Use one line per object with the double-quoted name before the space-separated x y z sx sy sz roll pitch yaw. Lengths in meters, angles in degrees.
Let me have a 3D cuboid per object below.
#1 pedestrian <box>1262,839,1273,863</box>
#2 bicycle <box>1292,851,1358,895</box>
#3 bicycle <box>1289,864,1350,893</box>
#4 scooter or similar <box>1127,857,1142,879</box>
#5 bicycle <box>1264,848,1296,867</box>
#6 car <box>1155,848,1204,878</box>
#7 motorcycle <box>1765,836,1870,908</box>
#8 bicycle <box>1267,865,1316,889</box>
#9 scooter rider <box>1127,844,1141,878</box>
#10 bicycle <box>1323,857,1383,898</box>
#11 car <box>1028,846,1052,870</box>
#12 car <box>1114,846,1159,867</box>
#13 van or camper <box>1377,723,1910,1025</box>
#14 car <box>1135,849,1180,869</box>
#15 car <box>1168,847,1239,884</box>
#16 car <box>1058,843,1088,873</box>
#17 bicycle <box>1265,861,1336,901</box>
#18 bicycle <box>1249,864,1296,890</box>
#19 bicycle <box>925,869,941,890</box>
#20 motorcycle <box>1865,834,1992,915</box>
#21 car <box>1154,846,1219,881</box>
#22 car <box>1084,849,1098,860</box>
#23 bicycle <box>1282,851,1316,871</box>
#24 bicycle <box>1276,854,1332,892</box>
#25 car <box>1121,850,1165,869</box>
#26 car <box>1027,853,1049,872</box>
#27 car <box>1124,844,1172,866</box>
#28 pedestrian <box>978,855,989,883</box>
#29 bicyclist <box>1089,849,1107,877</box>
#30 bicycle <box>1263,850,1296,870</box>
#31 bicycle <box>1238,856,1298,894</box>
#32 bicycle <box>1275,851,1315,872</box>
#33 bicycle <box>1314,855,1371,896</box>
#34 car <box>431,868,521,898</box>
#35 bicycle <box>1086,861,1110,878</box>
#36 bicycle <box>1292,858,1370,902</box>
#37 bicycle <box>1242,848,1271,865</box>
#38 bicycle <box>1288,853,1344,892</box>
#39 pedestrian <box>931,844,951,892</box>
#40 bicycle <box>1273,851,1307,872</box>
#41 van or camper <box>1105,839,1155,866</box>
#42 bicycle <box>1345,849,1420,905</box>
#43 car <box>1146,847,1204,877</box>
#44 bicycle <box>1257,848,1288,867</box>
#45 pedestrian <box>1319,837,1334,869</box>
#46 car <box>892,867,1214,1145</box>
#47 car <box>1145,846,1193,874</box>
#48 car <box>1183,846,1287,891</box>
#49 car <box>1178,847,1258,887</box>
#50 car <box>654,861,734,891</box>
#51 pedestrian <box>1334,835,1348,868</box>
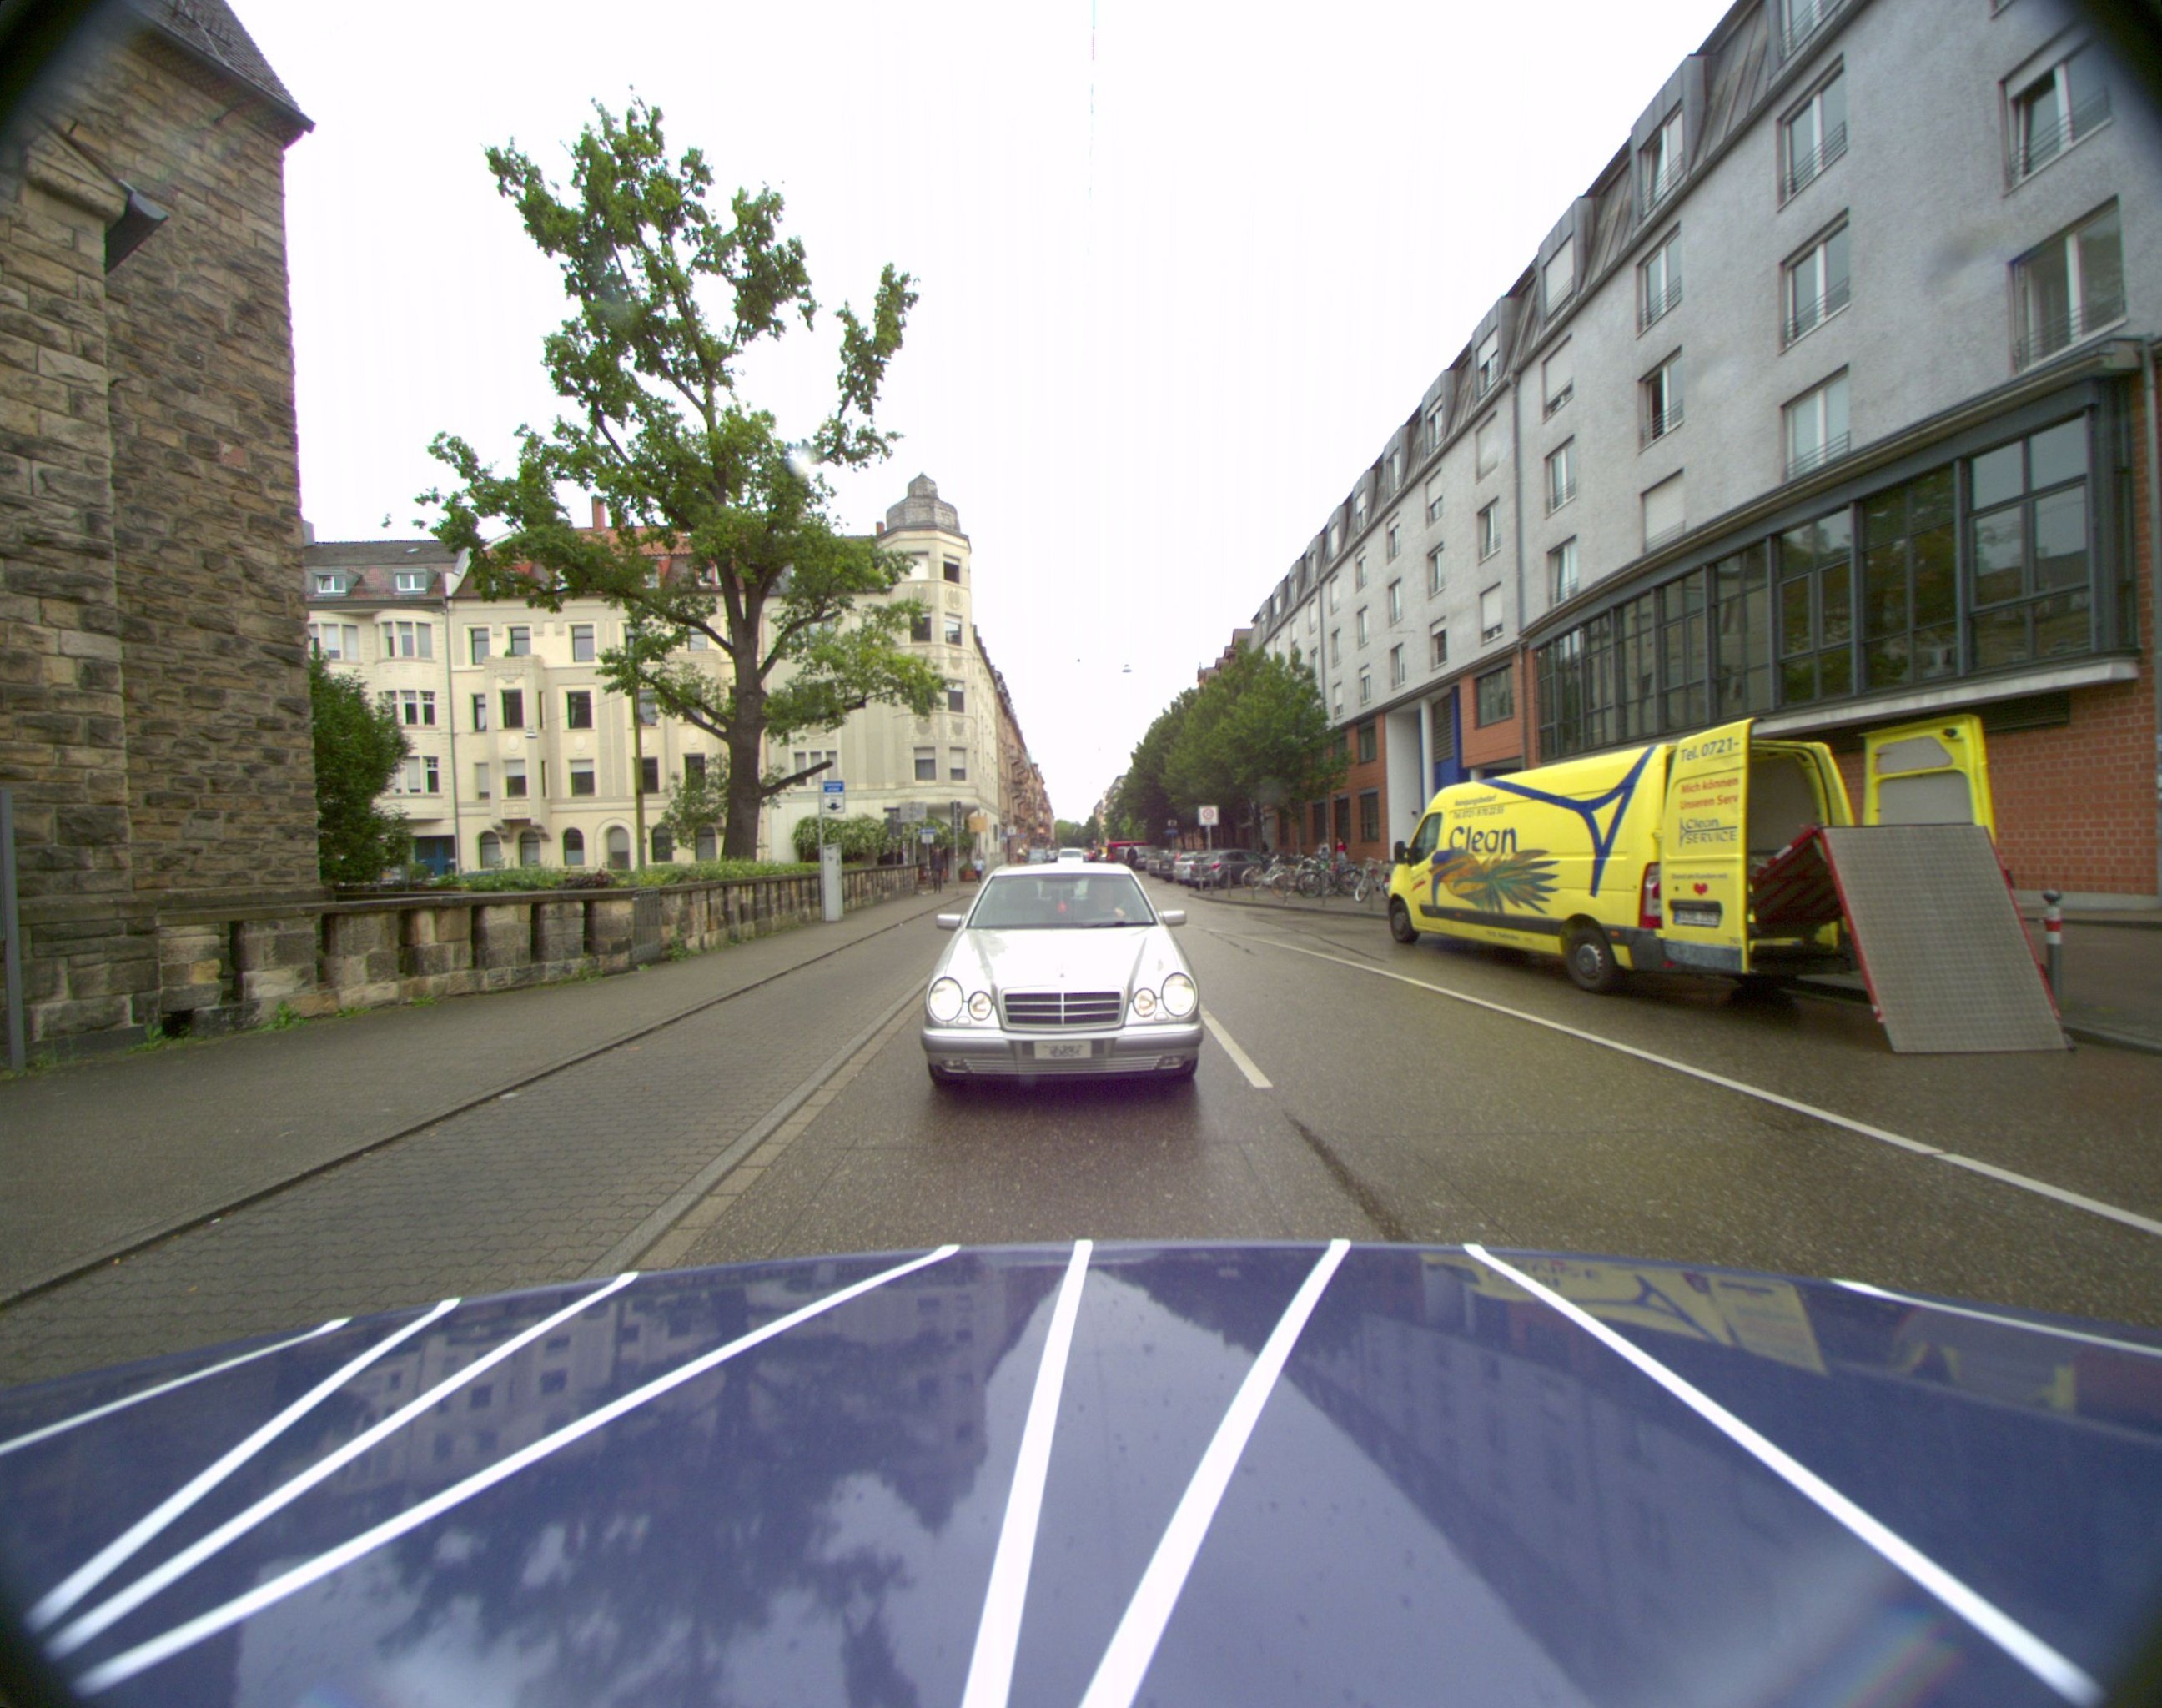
"pedestrian" 12.344 -0.216 50.231 0.571 1.588 0.533 -2 1 1
"bicycle" 7.251 0.554 22.582 1.815 1.187 0.519 -3 1 -13
"bicycle" 7.266 0.745 23.173 1.773 0.757 0.456 -3 1 -13
"scooter or similar" 3.020 0.784 42.986 0.702 1.158 1.385 -1 1 -2
"bicycle" 10.672 0.198 40.676 1.590 0.979 0.445 -2 1 -8
"car" 5.306 0.469 40.743 2.506 1.442 1.191 -3 1 -40
"motorcycle" 13.065 0.284 13.549 0.524 1.174 2.006 -3 1 19
"bicycle" 7.036 0.774 25.419 1.473 0.717 0.497 -3 1 3
"scooter rider" 3.011 0.386 42.992 0.712 1.924 0.503 -1 1 -2
"bicycle" 7.487 0.646 20.951 1.462 1.058 0.418 -3 1 4
"car" -3.317 0.301 61.539 1.726 1.794 3.462 -1 0 0
"car" 5.180 0.200 70.703 4.338 1.822 1.571 -1 1 -41
"van or camper" 6.071 0.157 9.577 2.202 2.596 5.941 -1 0 -1
"car" 6.121 0.397 60.445 1.685 1.482 3.799 0 1 40
"car" 5.597 0.522 34.627 3.084 1.494 1.449 -3 1 -40
"car" -0.551 0.266 54.486 1.998 2.002 4.000 -1 1 1
"bicycle" 6.127 0.749 21.284 1.800 0.987 0.520 -3 1 -2
"bicycle" 6.555 0.782 26.047 1.473 0.800 0.497 -3 1 3
"bicycle" -7.317 1.231 37.704 0.390 0.888 2.023 -1 3 0
"motorcycle" 13.246 0.281 11.947 0.524 1.174 1.760 -3 1 19
"car" 5.235 0.477 37.511 3.084 1.543 1.449 -3 1 -40
"car" 1.293 0.040 97.810 1.651 1.301 3.311 -1 0 -3
"bicycle" 11.094 0.343 38.686 1.590 0.979 0.445 -2 1 -8
"bicycle" 7.191 0.605 24.475 1.610 1.099 0.520 -3 1 -5
"car" 5.183 0.426 62.960 1.685 1.482 3.799 0 1 40
"car" -3.146 0.620 56.471 1.447 1.348 3.204 -1 0 0
"car" 5.970 0.101 67.191 4.338 1.884 1.685 -1 1 -41
"pedestrian" -5.056 0.764 39.411 0.482 1.452 0.392 -1 1 -1
"bicyclist" 0.962 0.486 42.842 0.535 1.521 1.136 -1 1 28
"bicycle" 10.462 0.326 40.056 1.590 0.979 0.445 -2 1 -8
"bicycle" 6.141 0.682 24.981 1.812 1.099 0.472 -3 1 -5
"bicycle" 10.598 0.369 37.668 1.851 0.979 0.445 -2 1 -8
"bicycle" 7.469 0.624 21.726 1.461 1.096 0.462 -3 1 14
"car" -29.726 1.417 37.371 3.270 1.401 1.448 -1 1 3
"bicycle" 0.965 0.859 42.834 0.535 0.879 1.784 -1 1 28
"bicycle" 6.705 0.693 20.446 1.858 1.067 0.609 -3 1 5
"bicycle" 10.201 0.147 44.115 1.590 0.979 0.465 -2 1 -8
"bicycle" 7.371 0.576 23.830 1.611 1.099 0.519 -3 1 -13
"pedestrian" -5.566 0.543 30.226 0.646 1.862 0.693 -1 1 0
"bicycle" 10.470 0.363 38.141 1.590 0.979 0.445 -2 1 -8
"van or camper" 4.955 -0.149 76.624 4.604 2.597 1.999 -1 1 -27
"bicycle" 7.595 0.549 19.105 1.922 1.209 0.768 -6 3 -35
"car" 5.355 0.445 43.251 2.985 1.546 1.369 -3 1 -29
"bicycle" 10.555 0.180 41.841 1.590 0.979 0.465 -2 1 -8
"pedestrian" 12.182 -0.046 37.670 0.605 1.601 0.372 -2 1 -1
"car" -0.155 0.888 6.260 1.764 1.420 3.999 -2 1 0
"car" 5.324 0.375 46.008 2.685 1.546 1.148 -3 1 -29
"car" 5.912 0.531 29.091 3.629 1.494 1.736 -3 2 -31
"car" 5.787 0.530 32.018 3.083 1.494 1.449 -3 1 -31
"car" -19.277 1.062 37.917 3.270 1.401 1.448 -1 1 3
"pedestrian" 12.718 -0.133 37.161 0.514 1.601 0.425 -2 1 1
